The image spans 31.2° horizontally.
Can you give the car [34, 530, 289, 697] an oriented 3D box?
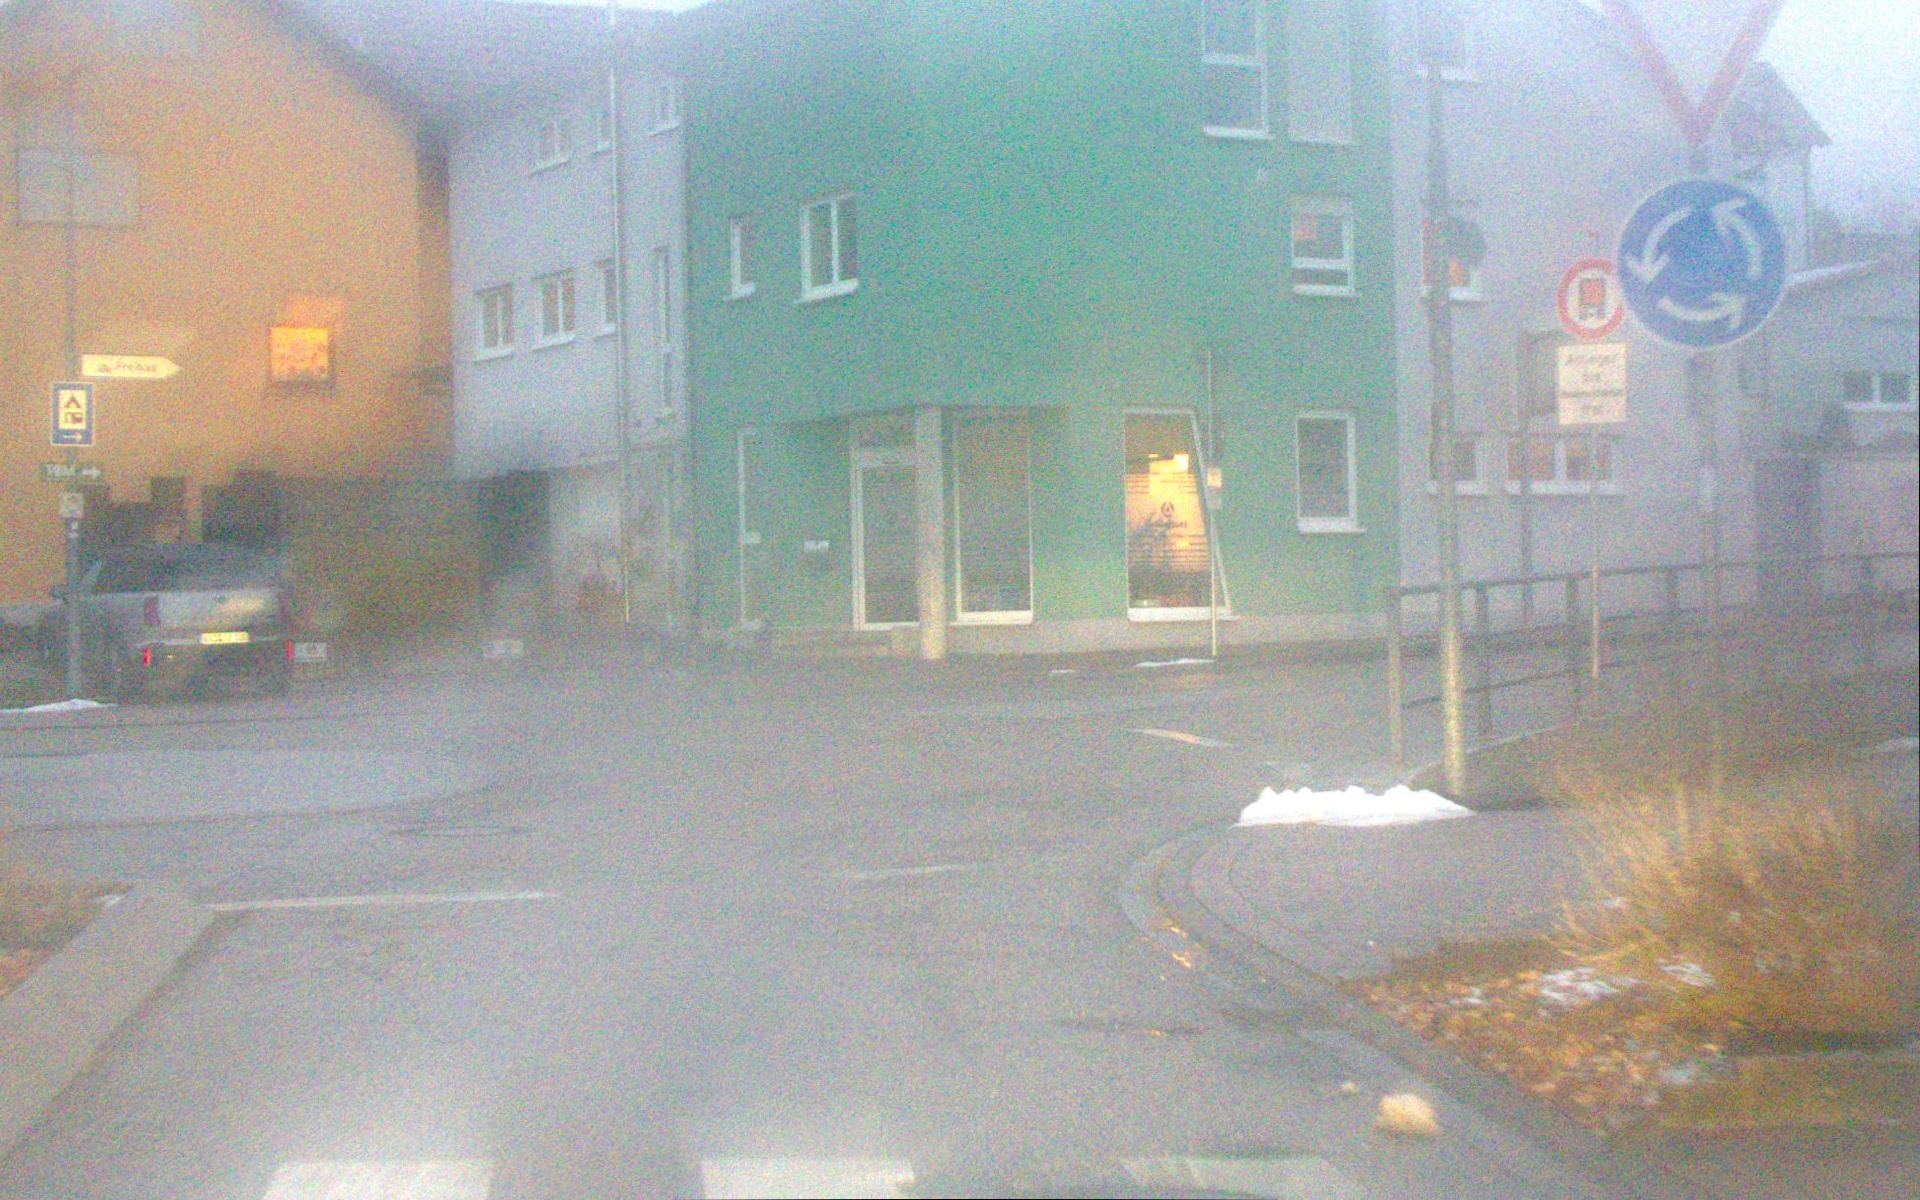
[{"bbox_3d":[-8.564,0.091,36.628,1.993,1.638,4.001,-1,2,-23],"label":"car"}]
